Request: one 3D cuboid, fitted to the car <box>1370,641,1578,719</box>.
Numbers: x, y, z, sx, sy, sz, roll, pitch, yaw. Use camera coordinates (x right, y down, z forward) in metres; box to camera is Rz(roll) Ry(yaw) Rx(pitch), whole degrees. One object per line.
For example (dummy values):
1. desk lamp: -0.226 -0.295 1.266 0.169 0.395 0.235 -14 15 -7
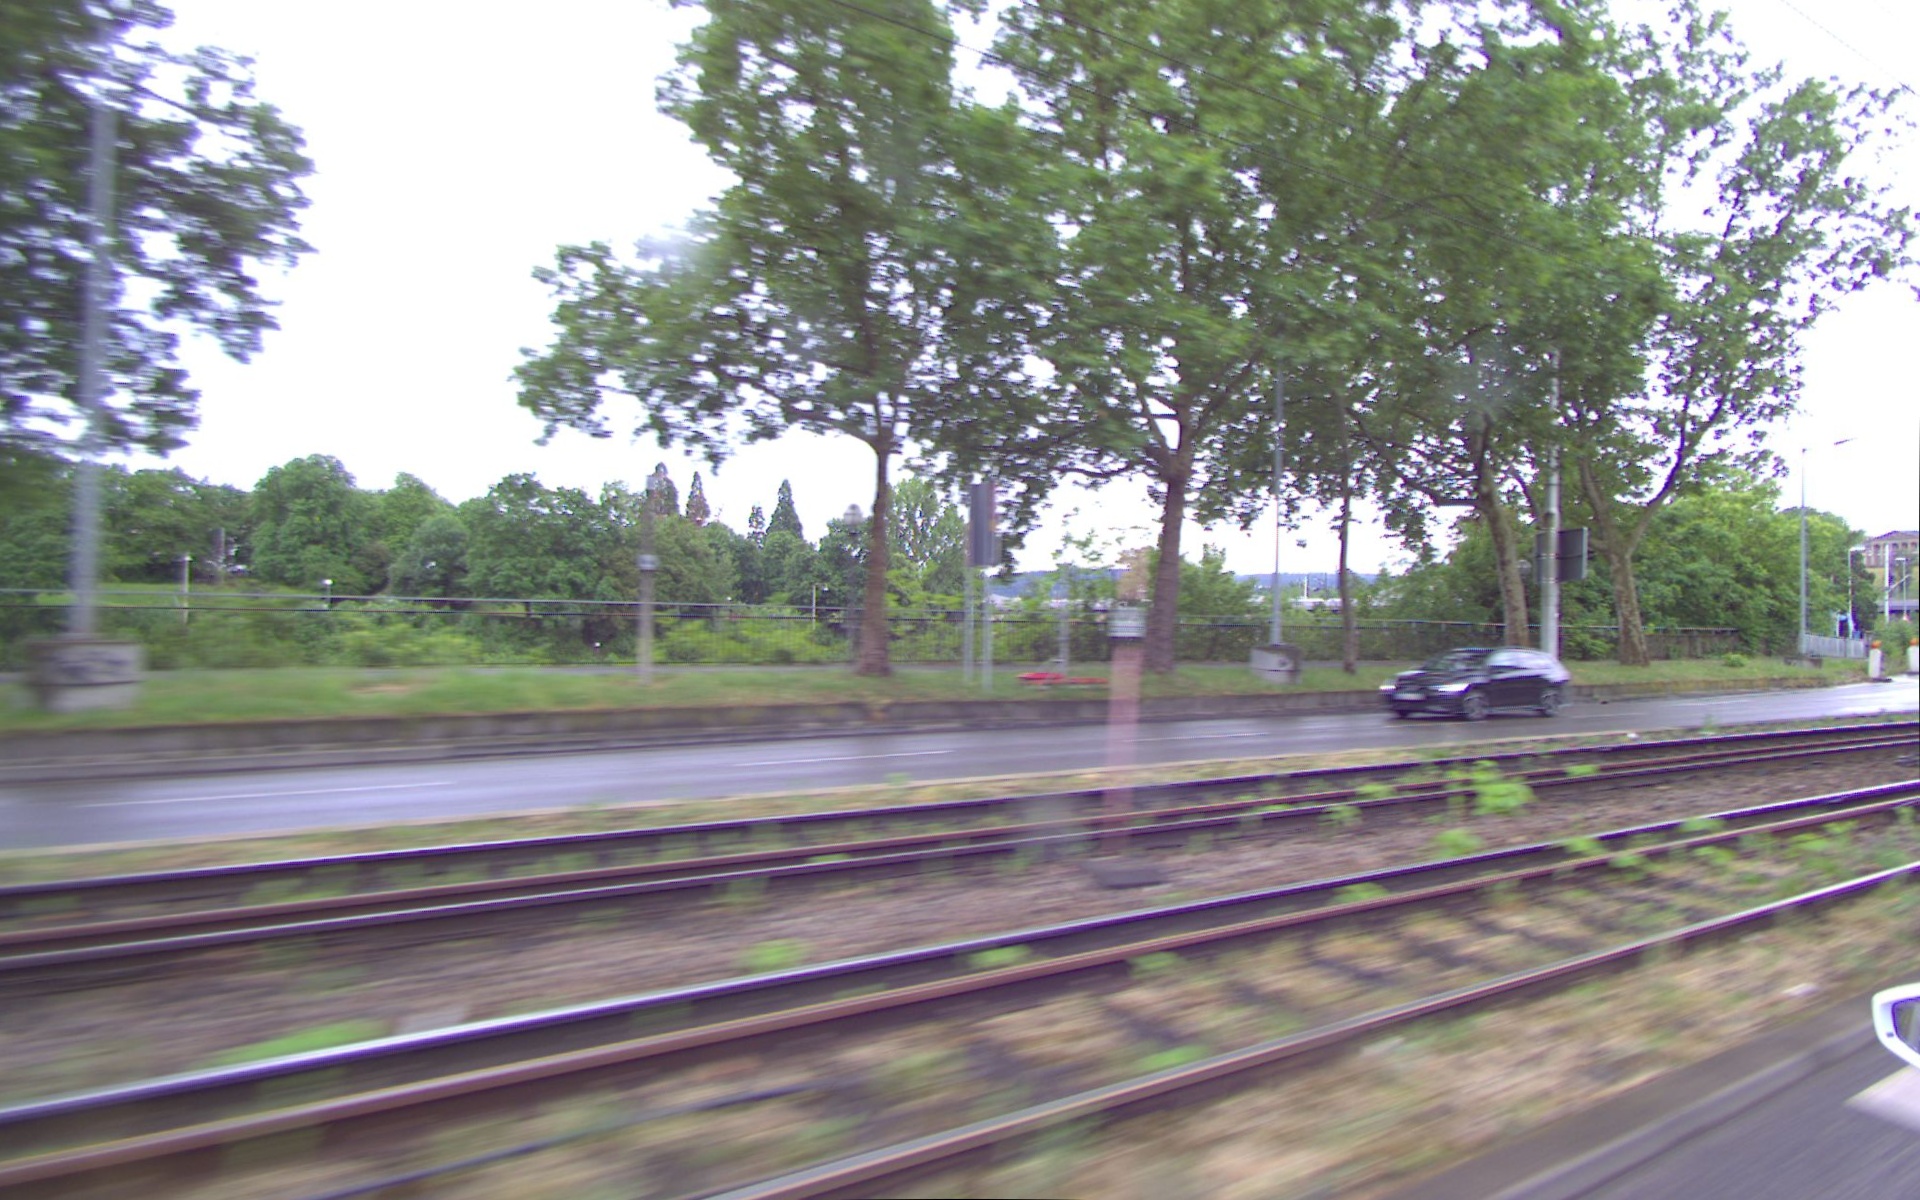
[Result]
1. car: 10.646 1.595 20.711 4.509 1.448 1.738 2 -3 -32
